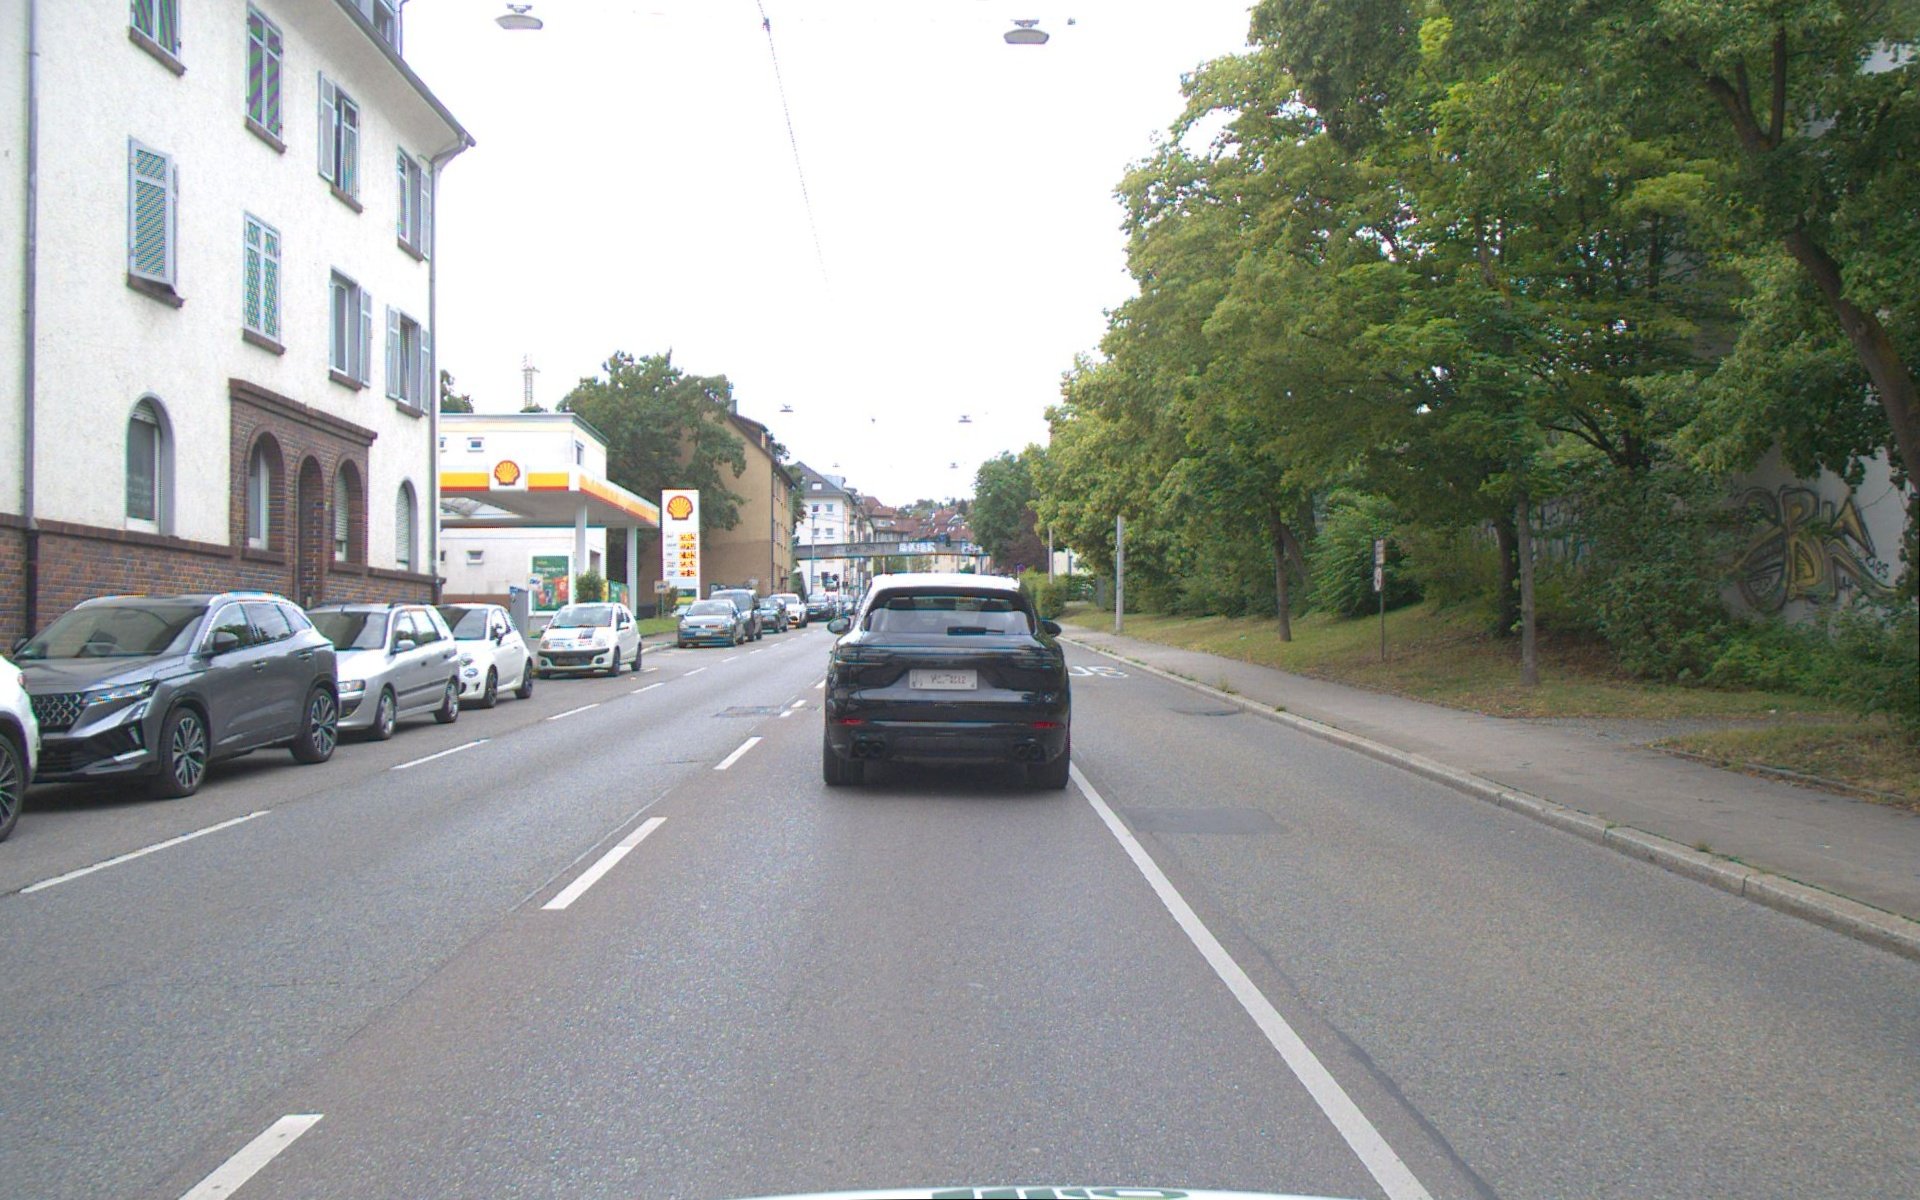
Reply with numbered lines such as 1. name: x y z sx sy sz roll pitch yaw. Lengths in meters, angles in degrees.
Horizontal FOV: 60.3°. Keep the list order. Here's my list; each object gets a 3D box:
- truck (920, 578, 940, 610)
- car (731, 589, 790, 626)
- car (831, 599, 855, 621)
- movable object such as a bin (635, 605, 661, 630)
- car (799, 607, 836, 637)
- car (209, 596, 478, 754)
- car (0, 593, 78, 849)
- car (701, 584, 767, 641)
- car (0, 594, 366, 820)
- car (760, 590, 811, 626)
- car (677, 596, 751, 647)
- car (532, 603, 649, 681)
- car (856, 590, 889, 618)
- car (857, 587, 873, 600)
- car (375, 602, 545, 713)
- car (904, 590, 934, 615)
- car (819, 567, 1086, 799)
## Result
1. truck: -3.439 -0.662 189.963 2.221 3.484 9.875 -1 0 -1
2. car: -8.334 0.302 69.299 1.760 1.456 4.744 -2 0 1
3. car: -9.221 0.782 130.479 1.711 1.596 3.906 -2 0 -3
4. movable object such as a bin: -18.412 1.009 97.693 1.365 1.453 0.912 0 0 -3
5. car: -8.593 1.308 100.127 1.746 1.637 4.264 -3 0 0
6. car: -7.168 0.795 19.681 1.692 1.585 4.080 -3 0 -2
7. car: -7.065 0.810 9.301 1.808 1.649 4.642 -1 0 -2
8. car: -7.878 0.417 58.048 1.814 1.867 4.699 -2 0 -3
9. car: -6.895 0.789 14.436 1.691 1.627 4.502 -1 0 1
10. car: -8.253 0.350 78.570 1.876 1.605 4.699 -1 0 0
11. car: -7.709 0.642 52.145 1.754 1.475 4.217 -2 0 -1
12. car: -7.545 0.815 34.057 1.586 1.450 3.664 -1 0 -1
13. car: -5.174 0.208 97.843 1.761 1.551 3.999 -2 0 -1
14. car: -11.932 -0.799 208.101 1.729 1.534 4.000 -1 0 0
15. car: -7.457 0.807 24.966 1.516 1.501 3.603 -1 0 -1
16. car: -2.404 0.160 97.816 1.706 1.424 4.000 0 1 -1
17. car: -0.071 0.584 14.099 1.953 1.691 4.000 0 1 -1
